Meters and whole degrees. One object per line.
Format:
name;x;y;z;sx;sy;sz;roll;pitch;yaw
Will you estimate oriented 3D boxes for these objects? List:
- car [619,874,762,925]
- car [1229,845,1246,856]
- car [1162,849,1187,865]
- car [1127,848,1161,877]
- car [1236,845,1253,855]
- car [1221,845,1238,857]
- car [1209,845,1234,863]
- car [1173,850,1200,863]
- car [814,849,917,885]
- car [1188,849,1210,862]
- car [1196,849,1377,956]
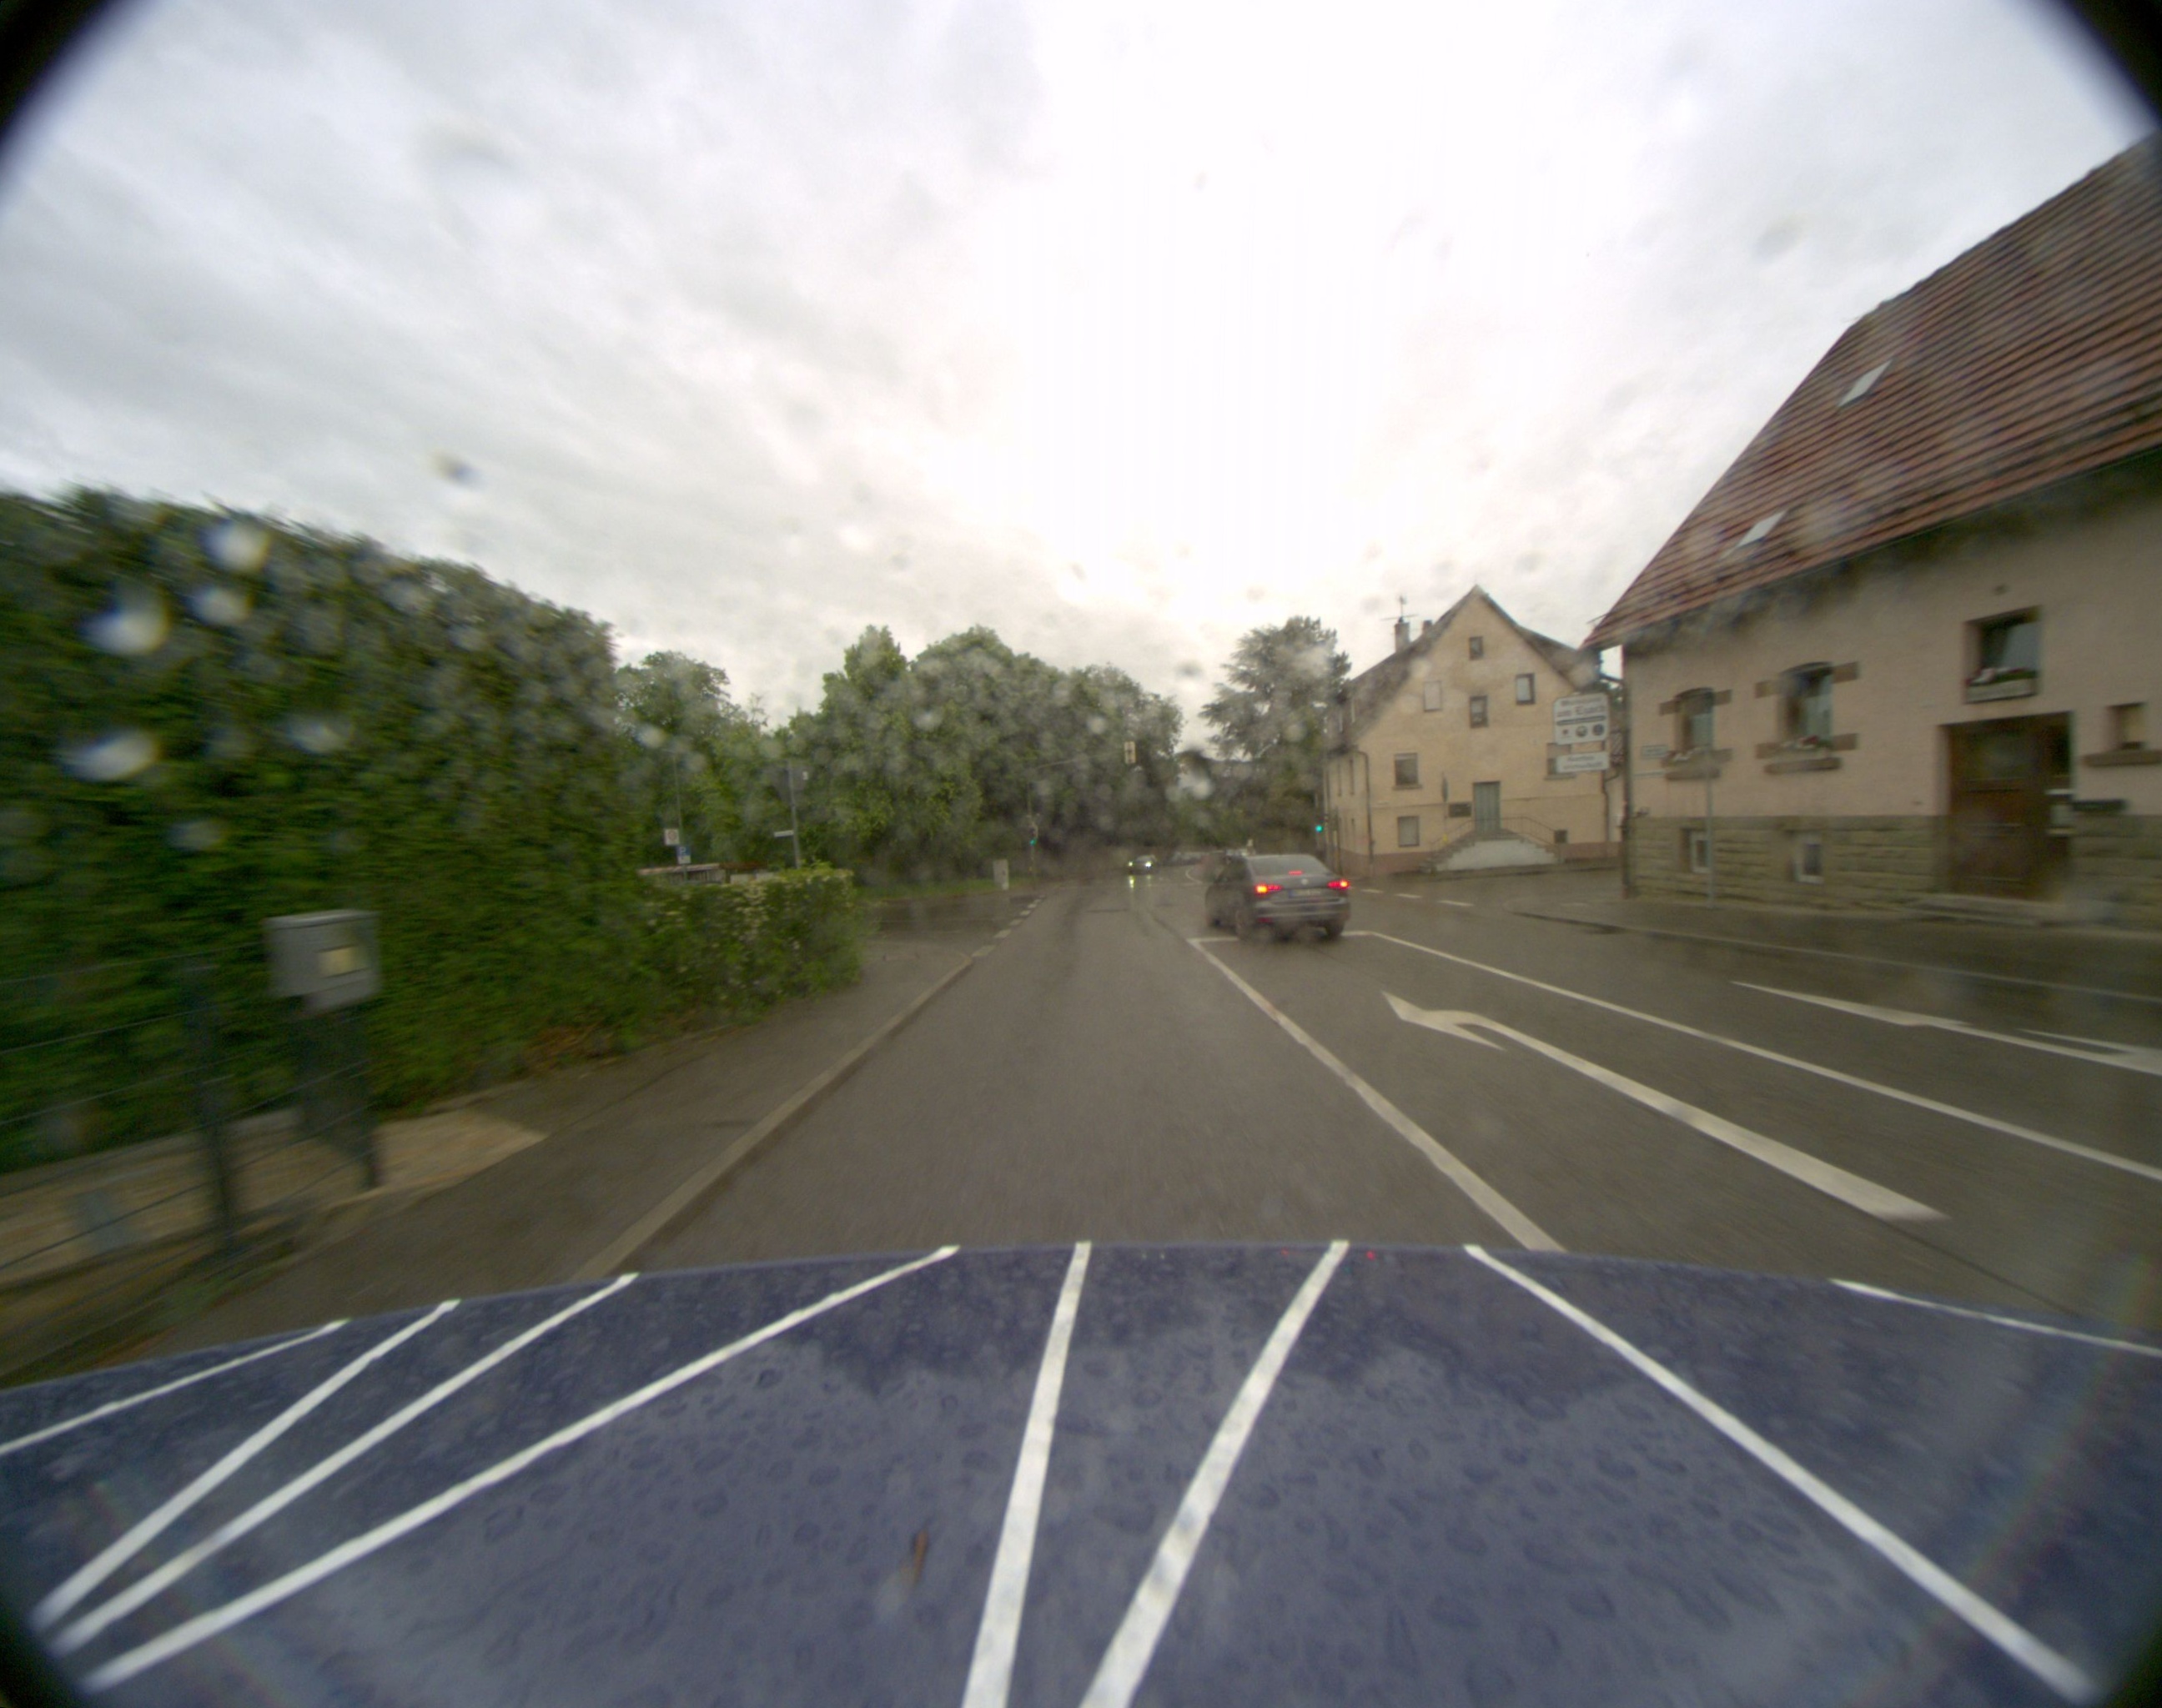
car;-13.319;1.547;25.962;4.157;1.433;1.835;-3;0;17
car;24.021;-0.521;116.388;1.830;1.620;4.159;-1;1;23
car;10.145;0.309;81.904;1.791;1.524;3.805;-1;1;21
car;4.980;0.601;59.461;1.997;2.002;4.003;-3;1;13
car;26.325;-0.652;122.232;1.830;1.620;4.159;-1;1;23
car;21.588;-0.436;110.417;1.831;1.620;4.159;-1;1;21
car;13.846;-0.040;74.642;1.996;1.696;4.004;-2;0;15
car;12.143;0.288;87.210;1.995;1.411;4.491;-1;0;21
car;-9.391;0.553;33.121;3.990;1.447;1.857;-1;1;25
car;14.438;0.183;92.569;1.761;1.411;4.159;-1;1;22
car;3.487;0.738;13.800;1.949;1.565;4.225;-2;0;-2
